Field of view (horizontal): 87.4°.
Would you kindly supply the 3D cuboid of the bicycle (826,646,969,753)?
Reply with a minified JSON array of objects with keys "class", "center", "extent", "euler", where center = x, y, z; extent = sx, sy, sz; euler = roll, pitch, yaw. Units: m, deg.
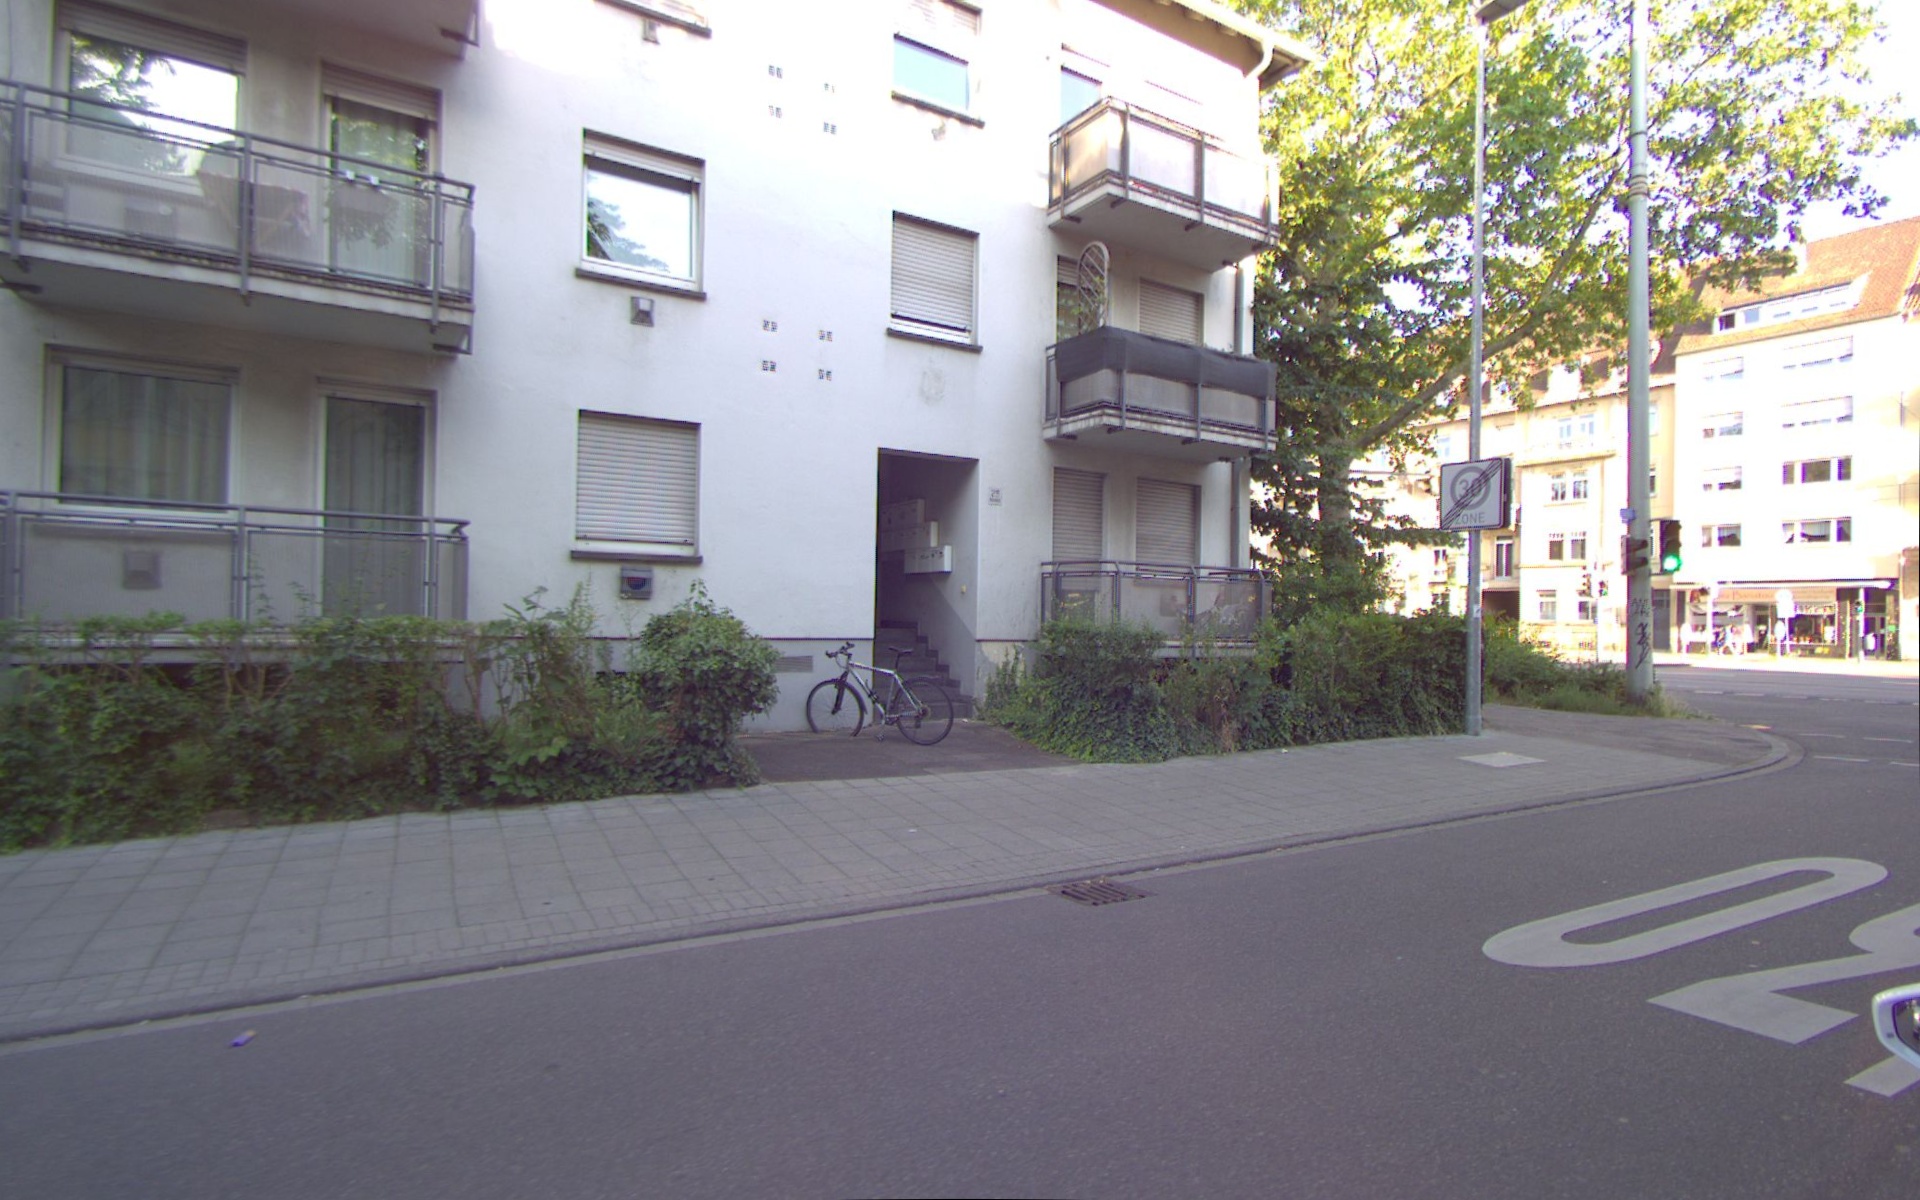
[{"class":"bicycle","center":[-0.663,1.023,10.579],"extent":[1.434,0.988,0.407],"euler":[3,0,22]}]

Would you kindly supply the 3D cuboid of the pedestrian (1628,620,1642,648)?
[{"class":"pedestrian","center":[36.646,1.830,54.541],"extent":[0.559,1.531,0.499],"euler":[0,-1,43]}]

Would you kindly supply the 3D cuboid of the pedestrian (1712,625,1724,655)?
[{"class":"pedestrian","center":[39.254,2.084,52.018],"extent":[0.467,1.531,0.428],"euler":[0,-1,42]}]

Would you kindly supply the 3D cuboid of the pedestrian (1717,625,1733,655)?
[{"class":"pedestrian","center":[39.810,2.074,52.284],"extent":[0.531,1.531,0.505],"euler":[1,-1,-34]}]
